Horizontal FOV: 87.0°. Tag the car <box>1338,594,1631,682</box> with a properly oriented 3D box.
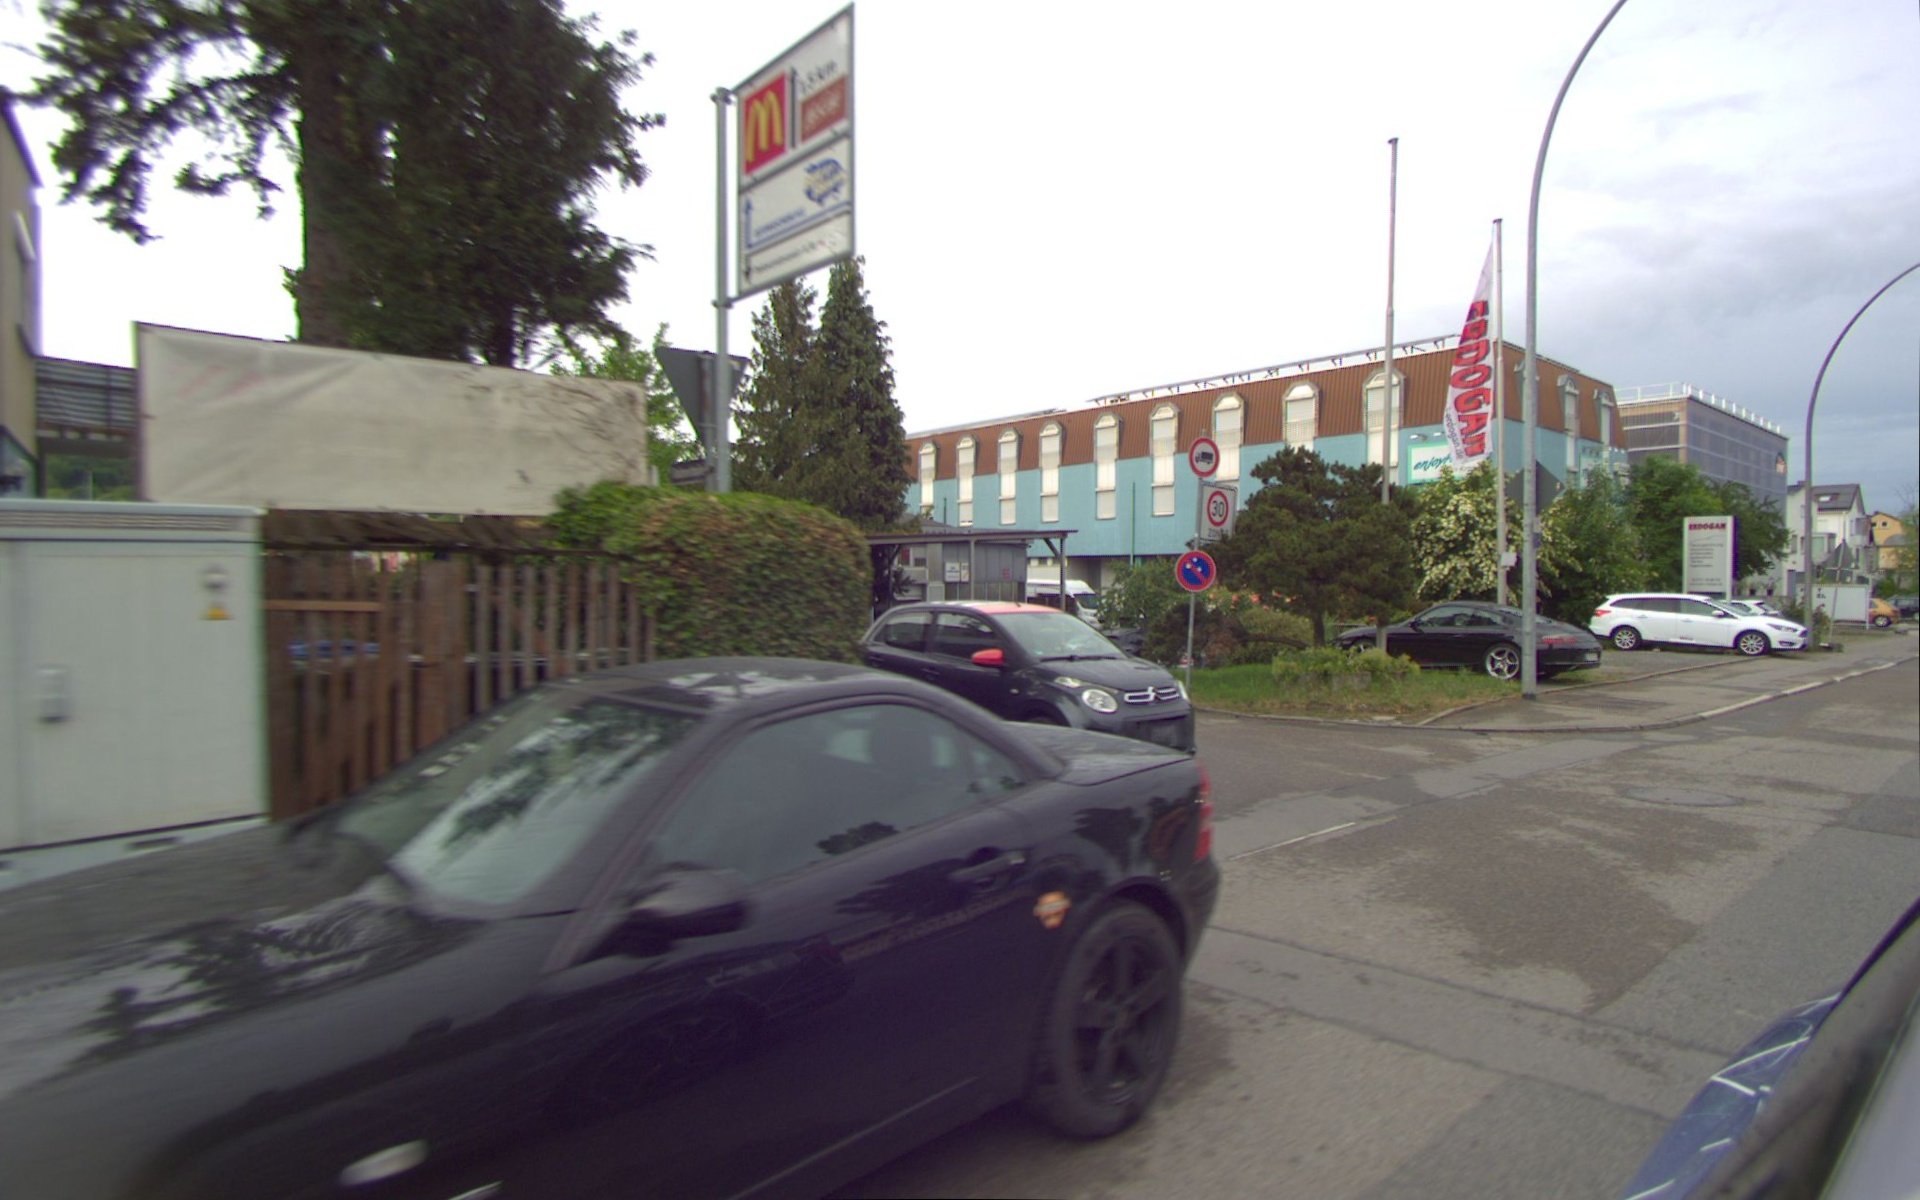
[{"bbox_3d":[8.805,0.592,17.254,1.915,1.282,3.996,-1,0,-38],"label":"car"}]

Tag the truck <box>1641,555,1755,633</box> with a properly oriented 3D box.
[{"bbox_3d":[38.087,-0.278,52.287,2.674,3.721,4.147,-1,-2,-42],"label":"truck"}]

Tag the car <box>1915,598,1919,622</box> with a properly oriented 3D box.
[{"bbox_3d":[71.679,0.698,72.553,1.860,1.645,4.452,-1,0,-41],"label":"car"}]

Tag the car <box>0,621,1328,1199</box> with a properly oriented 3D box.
[{"bbox_3d":[-0.784,0.797,2.686,4.023,1.358,1.591,-1,-2,-42],"label":"car"}]

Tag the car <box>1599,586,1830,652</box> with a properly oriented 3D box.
[{"bbox_3d":[18.857,0.443,25.449,1.870,1.494,4.345,-1,0,-41],"label":"car"}]

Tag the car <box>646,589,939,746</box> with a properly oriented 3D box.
[{"bbox_3d":[-2.117,0.692,12.148,1.828,1.558,3.619,-1,0,-41],"label":"car"}]

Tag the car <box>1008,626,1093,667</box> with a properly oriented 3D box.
[{"bbox_3d":[3.912,1.958,43.451,3.466,1.523,1.666,-1,0,-41],"label":"car"}]

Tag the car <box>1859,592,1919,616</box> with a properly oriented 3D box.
[{"bbox_3d":[60.704,0.226,65.163,1.800,1.509,3.975,-1,0,-39],"label":"car"}]

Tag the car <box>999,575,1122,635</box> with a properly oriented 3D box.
[{"bbox_3d":[4.807,0.228,49.475,2.407,2.744,5.936,-1,0,-41],"label":"car"}]

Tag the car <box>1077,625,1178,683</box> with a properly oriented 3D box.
[{"bbox_3d":[5.511,1.731,33.155,3.227,1.674,1.642,-1,0,-43],"label":"car"}]

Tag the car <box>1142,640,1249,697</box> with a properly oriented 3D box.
[{"bbox_3d":[7.282,2.061,31.161,3.227,1.494,1.707,-1,0,-43],"label":"car"}]

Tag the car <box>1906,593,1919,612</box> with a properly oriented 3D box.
[{"bbox_3d":[73.274,0.183,75.119,1.818,1.396,4.327,-1,0,-41],"label":"car"}]

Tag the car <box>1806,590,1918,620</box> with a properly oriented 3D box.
[{"bbox_3d":[44.583,0.225,50.100,1.602,1.448,3.993,-1,0,-41],"label":"car"}]

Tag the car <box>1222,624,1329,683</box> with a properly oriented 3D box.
[{"bbox_3d":[9.305,1.531,29.728,3.227,1.494,1.620,-1,0,-43],"label":"car"}]

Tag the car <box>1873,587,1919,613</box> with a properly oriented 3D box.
[{"bbox_3d":[62.654,-0.011,66.089,1.946,1.696,4.233,-1,0,-41],"label":"car"}]

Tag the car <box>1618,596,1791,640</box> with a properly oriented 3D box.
[{"bbox_3d":[25.128,0.594,34.271,1.848,1.410,4.420,0,-1,-42],"label":"car"}]

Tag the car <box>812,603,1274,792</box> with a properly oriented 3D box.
[{"bbox_3d":[0.563,0.712,9.247,1.917,1.282,3.992,-1,0,-41],"label":"car"}]
